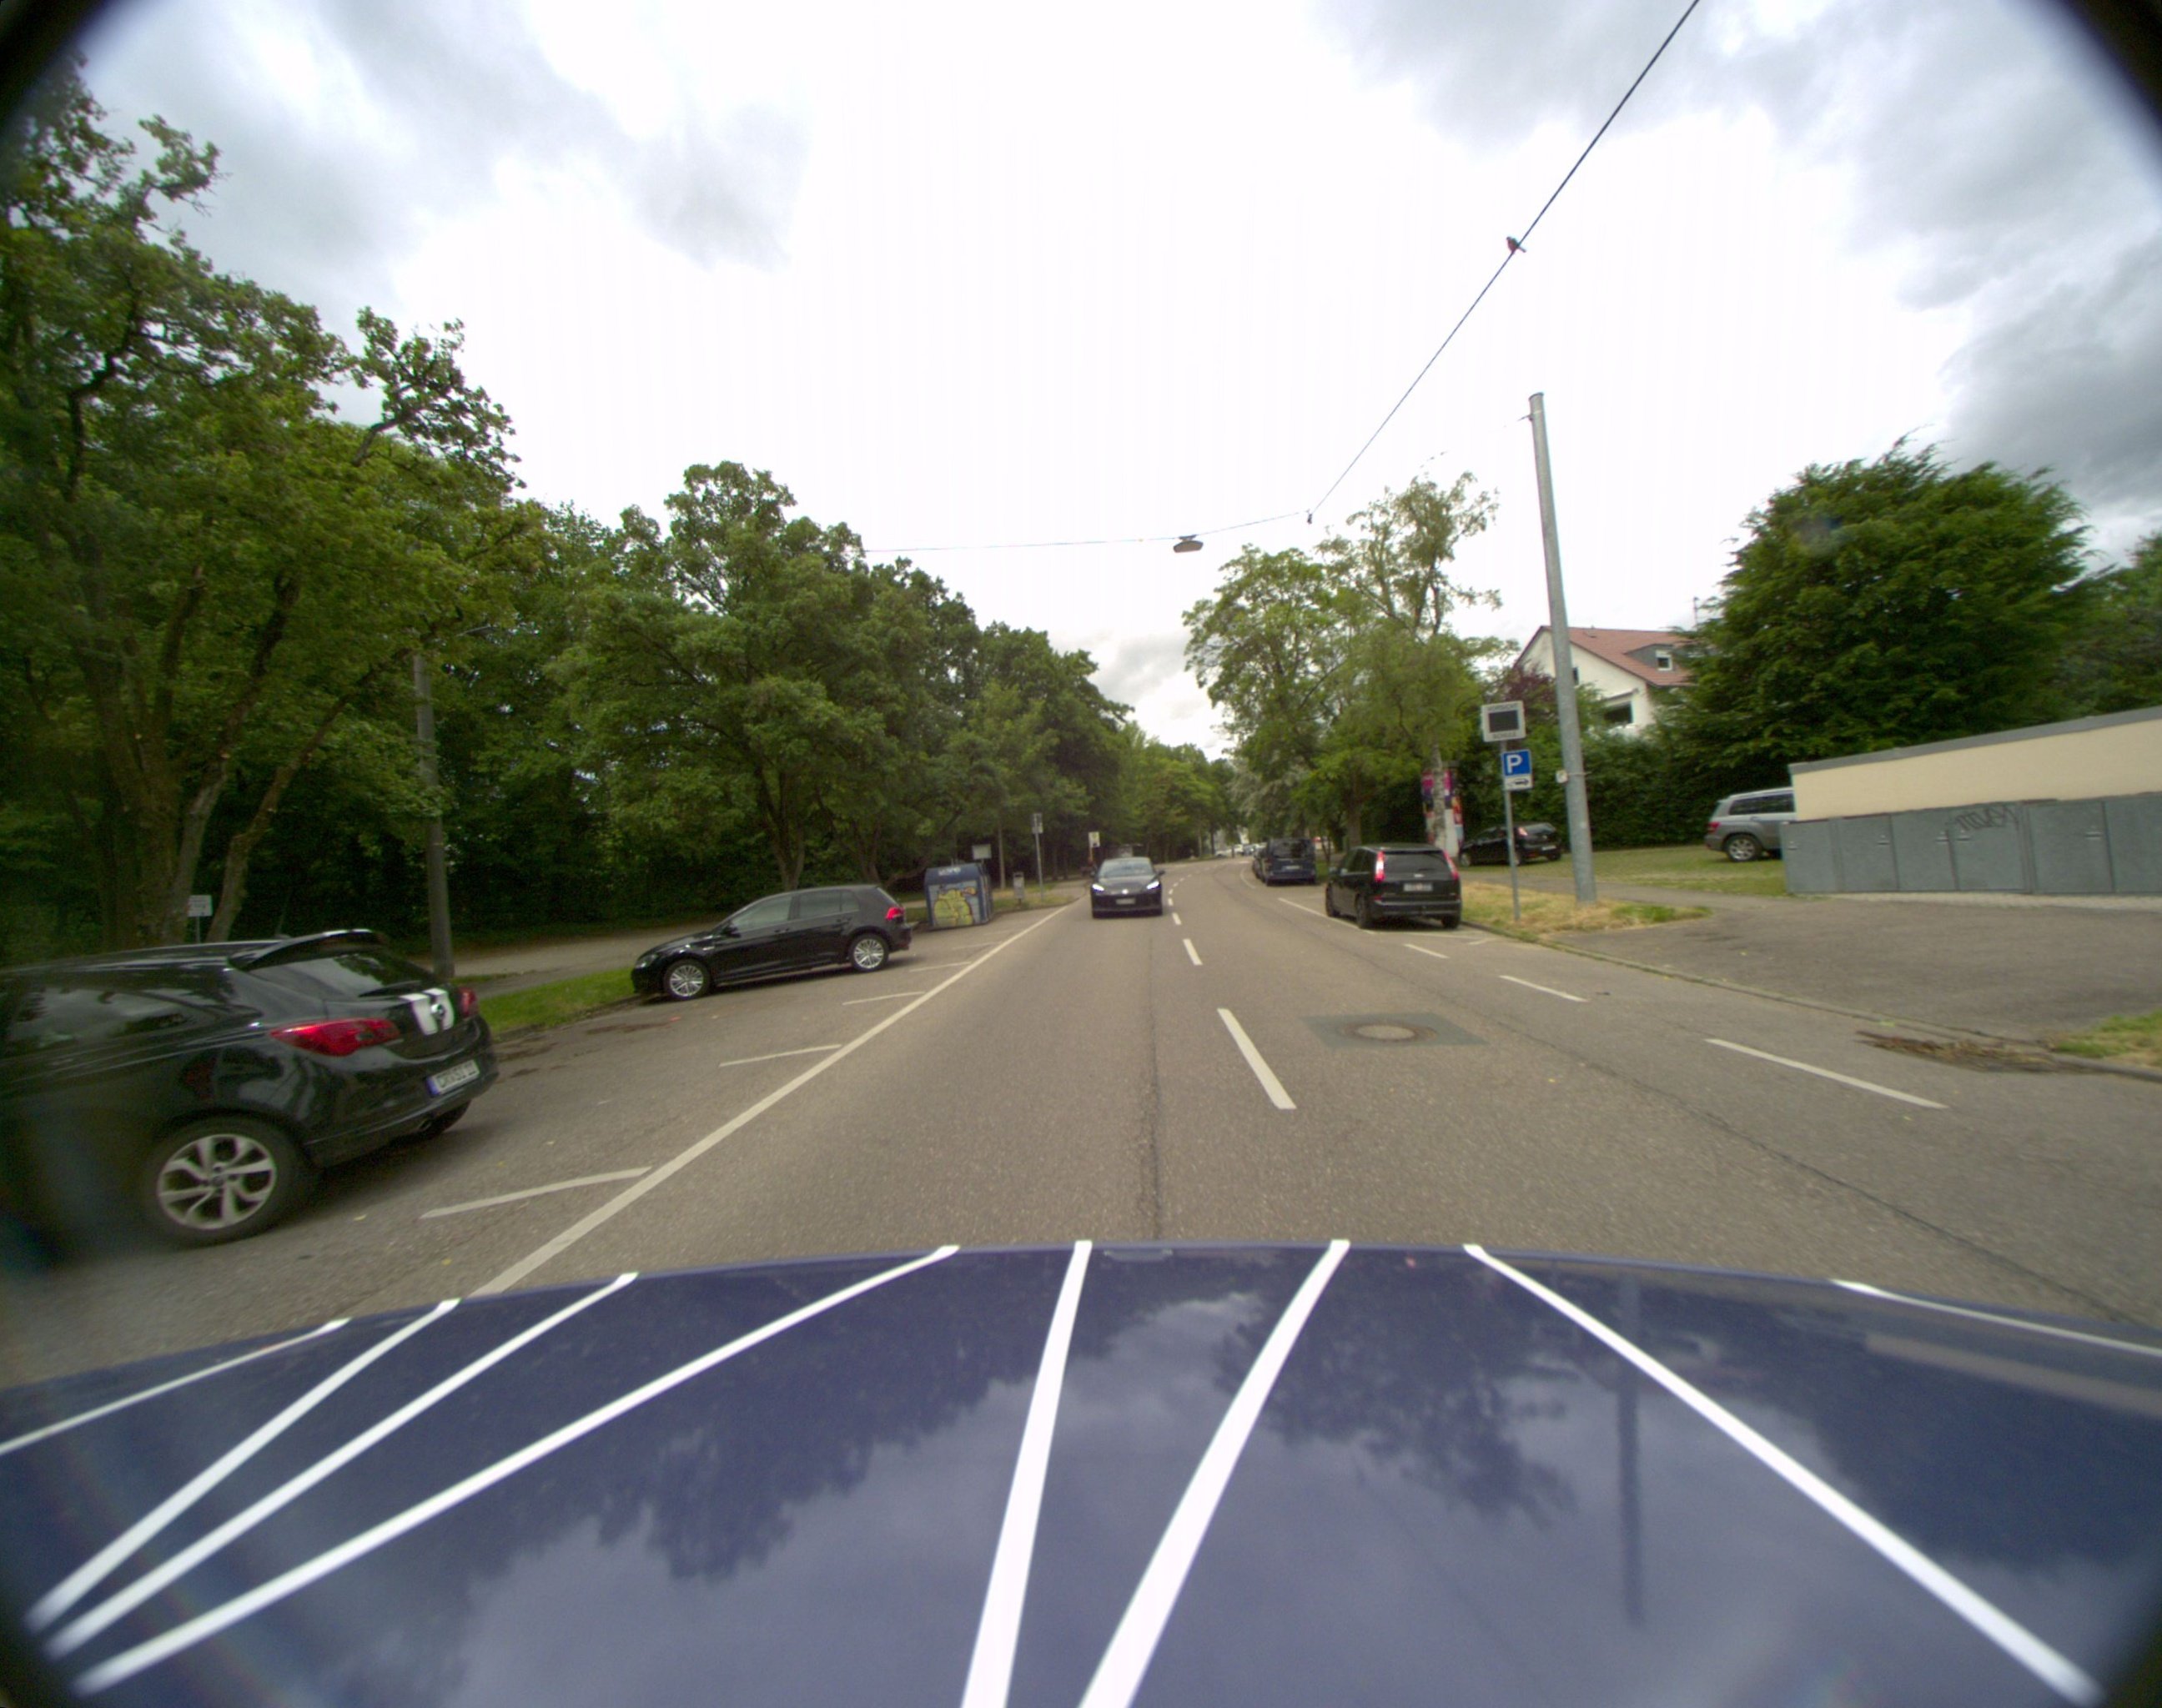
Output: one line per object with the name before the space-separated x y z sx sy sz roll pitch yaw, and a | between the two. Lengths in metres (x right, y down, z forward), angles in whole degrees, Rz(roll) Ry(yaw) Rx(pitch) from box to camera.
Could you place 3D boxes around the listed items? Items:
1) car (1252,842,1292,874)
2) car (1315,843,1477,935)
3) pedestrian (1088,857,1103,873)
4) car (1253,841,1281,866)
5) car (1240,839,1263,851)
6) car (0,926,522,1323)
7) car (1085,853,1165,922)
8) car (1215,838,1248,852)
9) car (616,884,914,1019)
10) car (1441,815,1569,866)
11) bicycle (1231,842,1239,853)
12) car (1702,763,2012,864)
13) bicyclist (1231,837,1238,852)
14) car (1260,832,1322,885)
car | 10.433 0.164 41.808 1.869 1.529 4.230 -4 0 12
car | 6.087 0.578 15.249 1.808 1.554 4.268 -1 1 5
pedestrian | 1.165 0.873 61.447 1.065 1.175 0.580 -4 1 12
car | 13.010 -0.088 52.974 1.738 1.569 4.145 -3 1 15
car | 22.605 -1.243 100.833 1.858 1.366 4.082 -5 0 28
car | -5.651 1.431 4.015 3.831 1.459 1.745 -7 0 -11
car | 1.156 0.822 20.342 1.813 1.484 3.793 -5 1 3
car | 22.229 -1.312 112.337 4.475 1.576 1.908 -6 0 15
car | -4.932 1.451 12.398 4.001 1.406 2.055 -7 0 -17
car | 15.052 -0.435 27.226 1.779 1.469 3.987 -8 1 -9
bicycle | 18.587 -0.841 91.862 0.647 1.230 1.879 -5 0 16
car | 17.377 -0.820 17.330 2.001 1.640 4.397 -8 0 -24
bicyclist | 18.685 -1.133 92.226 0.646 1.769 0.628 -4 2 16
car | 8.603 0.143 31.582 1.861 1.898 5.086 -4 0 10
